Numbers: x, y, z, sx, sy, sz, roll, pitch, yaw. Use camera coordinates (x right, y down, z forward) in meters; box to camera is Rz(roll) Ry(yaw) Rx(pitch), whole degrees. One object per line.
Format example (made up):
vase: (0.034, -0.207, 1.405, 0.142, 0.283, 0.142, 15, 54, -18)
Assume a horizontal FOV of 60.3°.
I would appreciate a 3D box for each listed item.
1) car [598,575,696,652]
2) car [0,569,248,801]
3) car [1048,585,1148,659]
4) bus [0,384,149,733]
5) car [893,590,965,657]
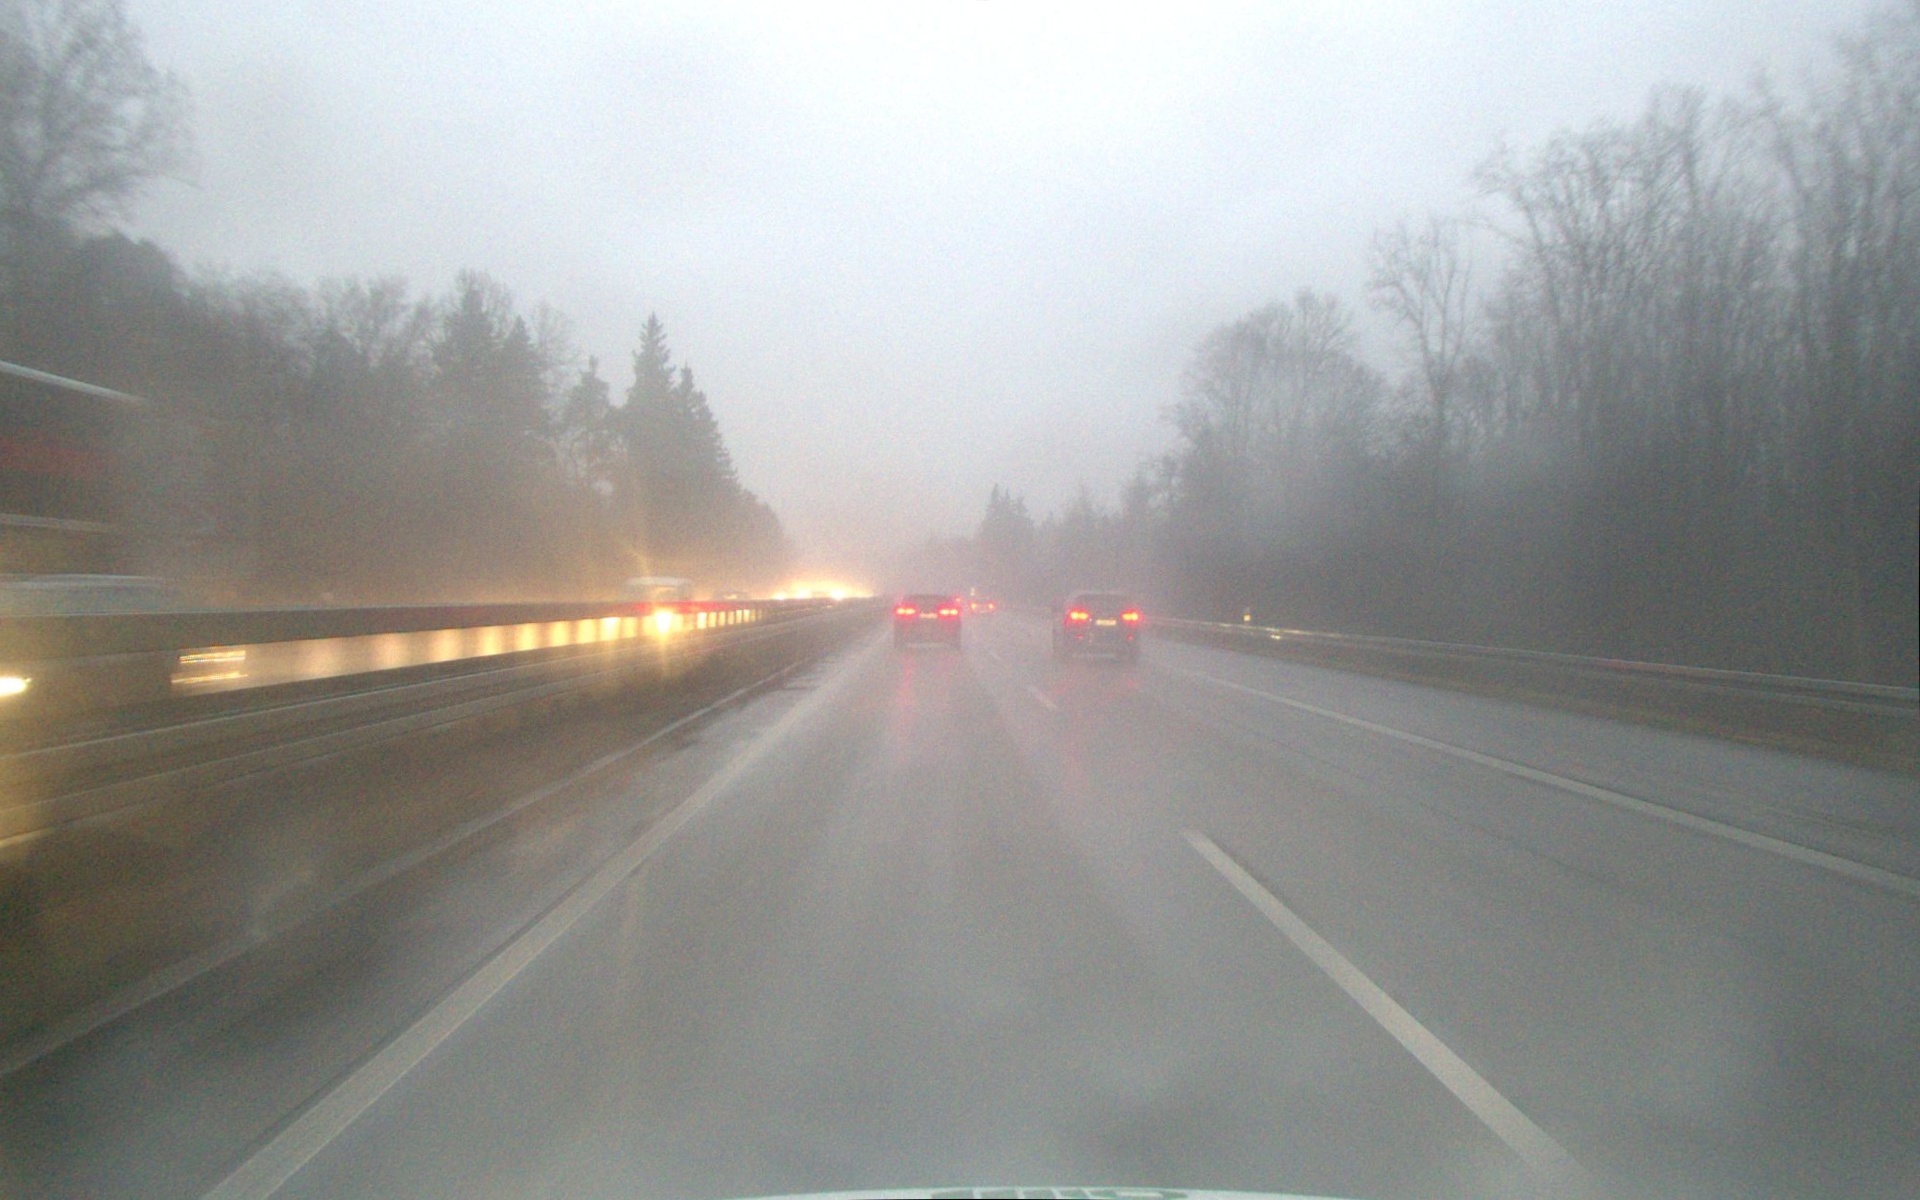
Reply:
car: (-8.821, 0.366, 47.000, 1.953, 2.049, 4.727, 1, 0, -1)
car: (-7.344, 0.563, 12.822, 1.761, 1.561, 4.270, 1, 0, 0)
car: (3.414, 0.528, 41.652, 2.028, 1.727, 4.459, 1, 0, -2)
bus: (-11.259, -0.441, 15.712, 2.683, 3.617, 9.153, 1, 0, -1)
car: (-0.838, 0.632, 46.852, 1.945, 1.798, 4.173, 0, 0, 0)
